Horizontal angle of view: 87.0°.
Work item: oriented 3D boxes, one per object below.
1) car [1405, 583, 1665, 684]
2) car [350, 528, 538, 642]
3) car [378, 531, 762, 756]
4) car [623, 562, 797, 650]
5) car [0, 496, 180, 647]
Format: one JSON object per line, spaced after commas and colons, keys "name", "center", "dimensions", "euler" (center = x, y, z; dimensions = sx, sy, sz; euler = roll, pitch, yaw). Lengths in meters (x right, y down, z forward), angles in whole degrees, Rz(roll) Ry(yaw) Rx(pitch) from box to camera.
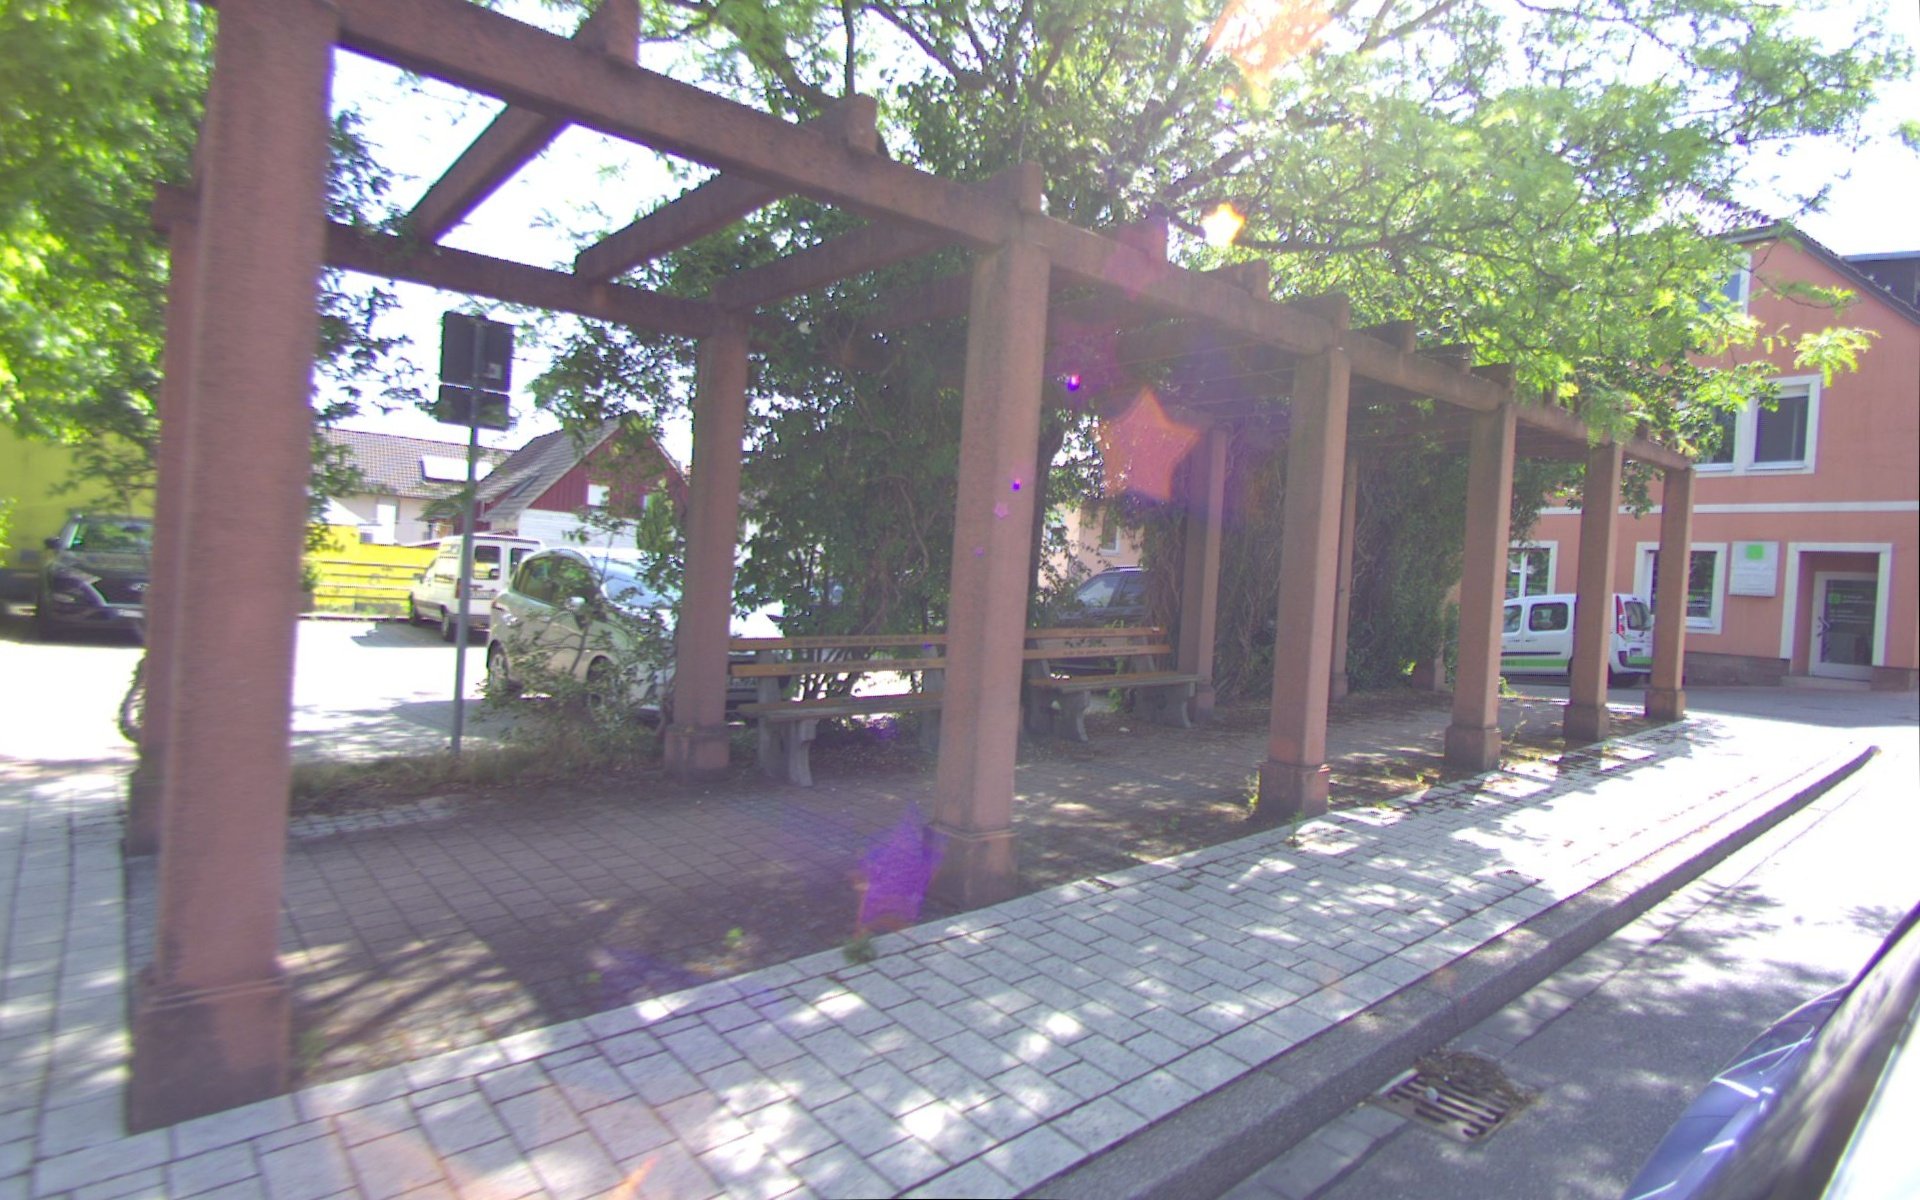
{"name": "car", "center": [11.269, 0.655, 20.099], "dimensions": [1.778, 1.776, 4.097], "euler": [1, -2, -36]}
{"name": "car", "center": [-9.154, -0.320, 17.792], "dimensions": [1.852, 1.762, 4.180], "euler": [1, 2, -43]}
{"name": "car", "center": [-3.765, 0.204, 9.248], "dimensions": [1.696, 1.564, 4.487], "euler": [1, 2, -43]}
{"name": "car", "center": [-5.000, 0.062, 19.959], "dimensions": [1.627, 1.509, 3.876], "euler": [1, 2, -43]}
{"name": "car", "center": [-12.076, -0.445, 13.850], "dimensions": [1.878, 1.727, 3.995], "euler": [5, 0, -42]}
